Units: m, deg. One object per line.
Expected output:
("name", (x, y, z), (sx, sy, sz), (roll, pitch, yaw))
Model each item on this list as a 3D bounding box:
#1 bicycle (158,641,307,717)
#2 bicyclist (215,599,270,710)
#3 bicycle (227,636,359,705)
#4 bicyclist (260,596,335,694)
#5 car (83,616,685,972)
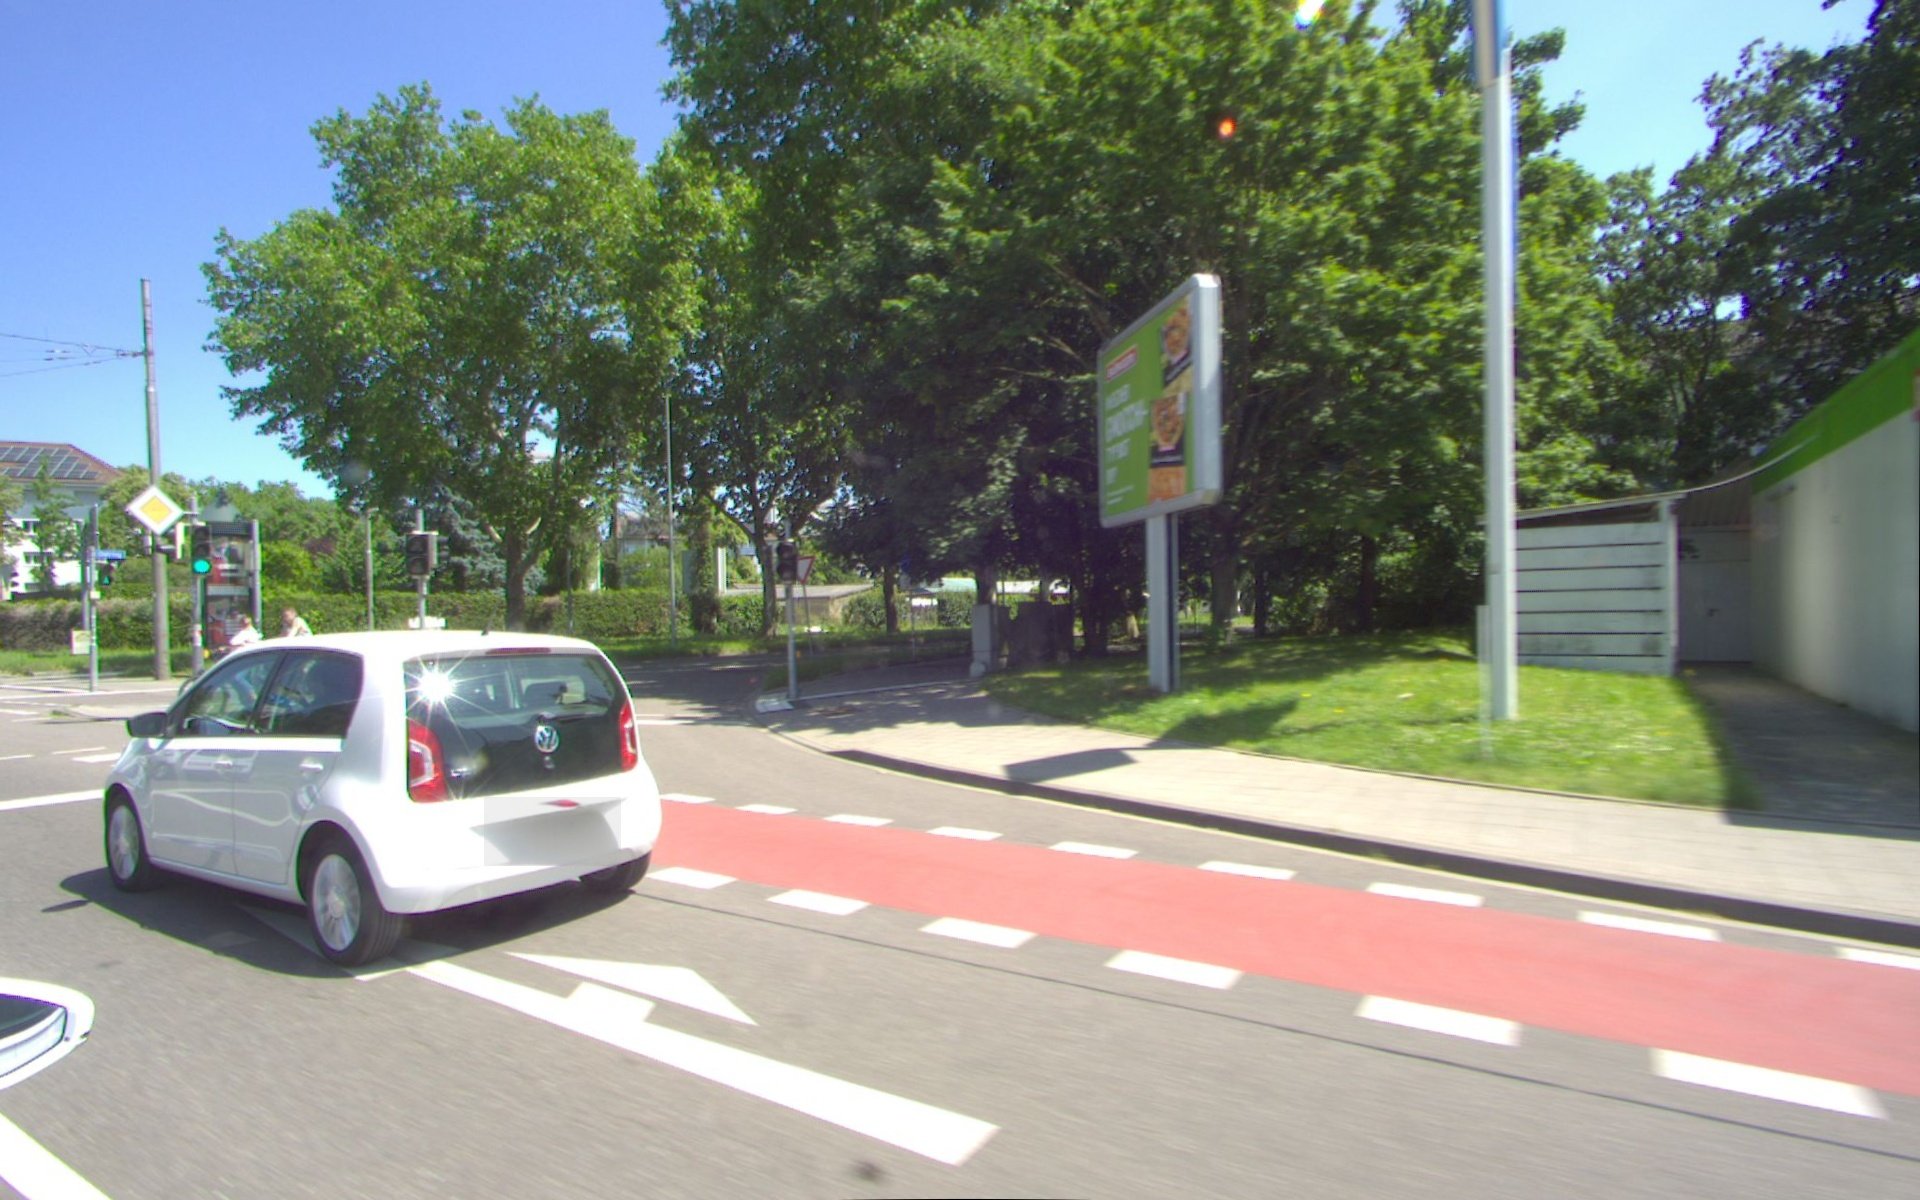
("bicycle", (-12.110, 1.282, 16.716), (0.884, 1.139, 1.859), (-1, -1, 39))
("bicyclist", (-12.125, 0.913, 16.922), (0.759, 1.810, 0.574), (-1, -2, 40))
("bicycle", (-12.543, 1.297, 18.901), (0.879, 1.174, 1.953), (-1, -1, 16))
("bicyclist", (-12.509, 0.847, 18.923), (0.959, 1.811, 0.725), (-1, 0, 17))
("car", (-3.361, 0.834, 5.727), (3.386, 1.466, 1.607), (-1, -1, 32))
